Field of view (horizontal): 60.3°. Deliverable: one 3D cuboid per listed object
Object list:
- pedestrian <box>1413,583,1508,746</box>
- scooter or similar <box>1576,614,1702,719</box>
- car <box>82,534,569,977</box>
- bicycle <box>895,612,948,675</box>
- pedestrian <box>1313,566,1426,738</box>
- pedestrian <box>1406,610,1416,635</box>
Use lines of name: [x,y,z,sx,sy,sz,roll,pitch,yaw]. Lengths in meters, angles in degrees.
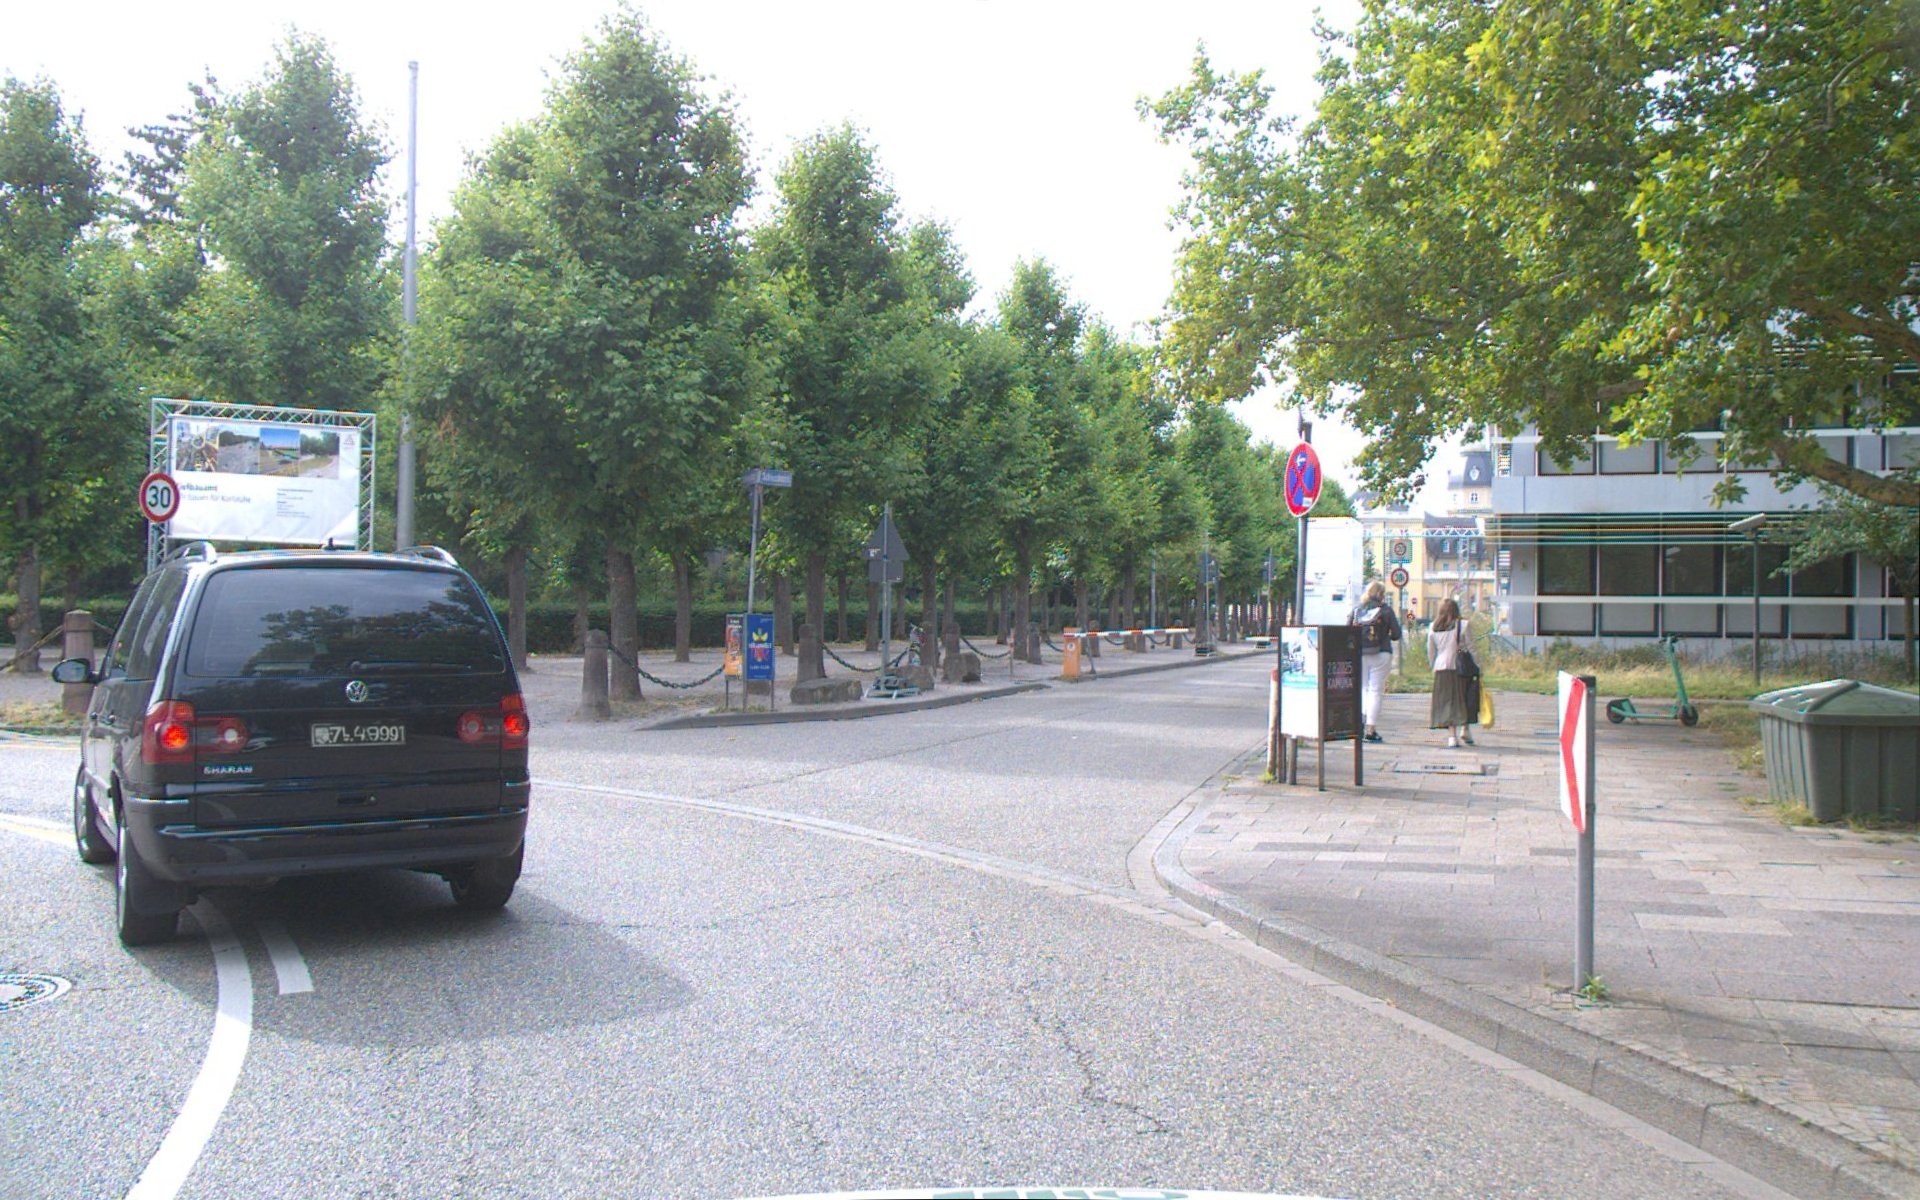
pedestrian: [5.355,0.668,17.670,0.877,1.670,0.852,2,0,20]
scooter or similar: [8.834,0.849,21.555,1.419,1.291,0.570,2,0,14]
car: [-3.538,0.610,8.721,1.775,1.738,4.088,0,0,-30]
bicycle: [-0.753,0.849,33.120,0.932,1.129,2.580,2,1,1]
pedestrian: [4.472,0.545,18.016,0.941,1.772,1.255,2,0,24]
pedestrian: [30.052,1.490,110.183,0.449,1.653,0.632,2,0,4]
